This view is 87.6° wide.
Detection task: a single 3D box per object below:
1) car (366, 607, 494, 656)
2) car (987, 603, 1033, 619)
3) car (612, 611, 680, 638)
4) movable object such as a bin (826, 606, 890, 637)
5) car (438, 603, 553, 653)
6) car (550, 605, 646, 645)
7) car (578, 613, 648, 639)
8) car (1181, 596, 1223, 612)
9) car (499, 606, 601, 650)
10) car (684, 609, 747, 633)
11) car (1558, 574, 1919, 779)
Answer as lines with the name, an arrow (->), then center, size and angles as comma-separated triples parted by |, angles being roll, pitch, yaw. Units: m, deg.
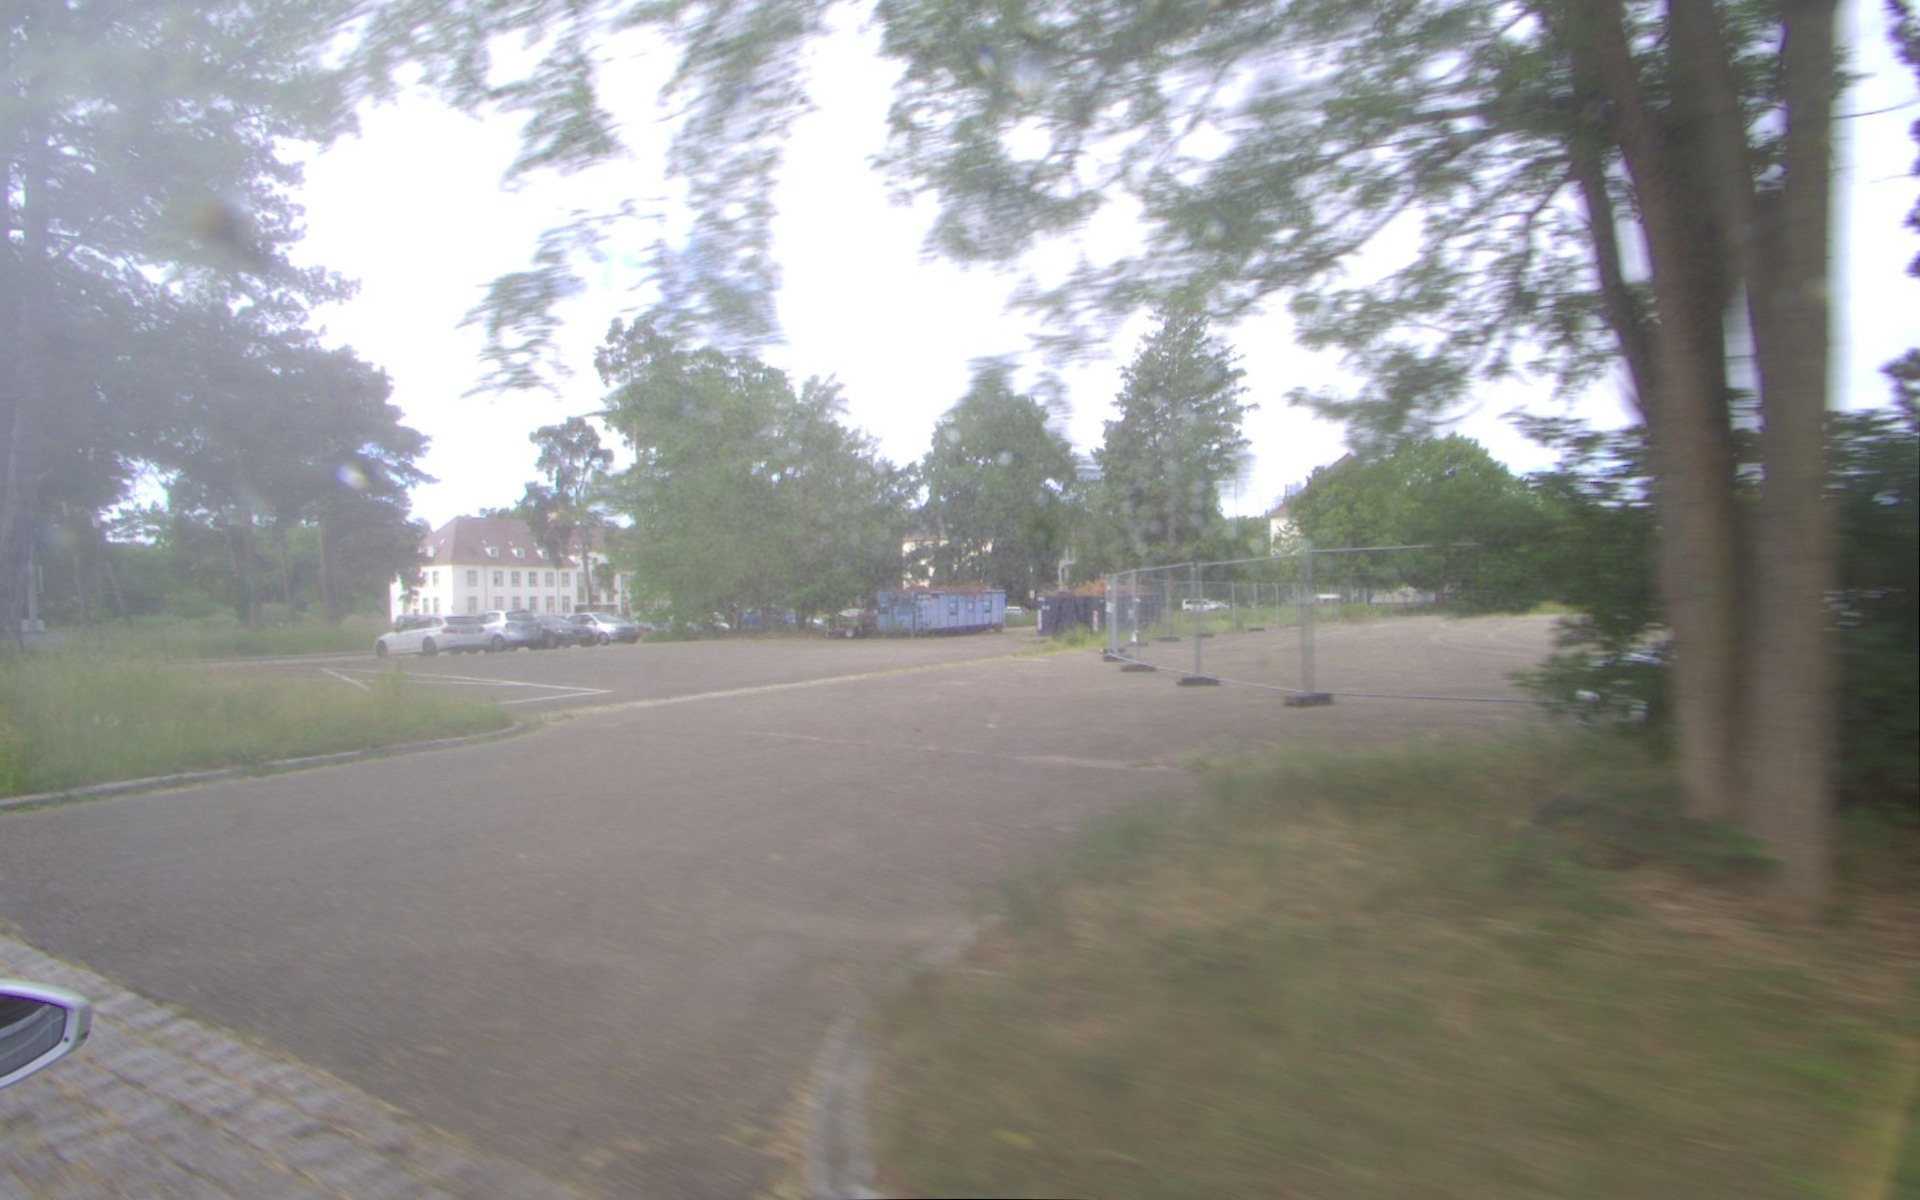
car -> -18.981, 1.136, 35.849 | 4.541, 1.505, 1.847 | -4, -3, 29
car -> 4.805, 1.082, 96.841 | 4.182, 1.541, 1.730 | -1, 0, 32
car -> -18.476, 1.431, 58.822 | 4.189, 1.492, 1.728 | -1, 0, 37
movable object such as a bin -> -3.804, 0.807, 37.281 | 2.176, 1.149, 0.960 | -1, -1, 23
car -> -17.724, 1.067, 38.176 | 4.181, 1.626, 1.780 | -4, -1, 29
car -> -15.633, 1.085, 43.191 | 4.186, 1.504, 1.697 | -4, -1, 33
car -> -19.572, 1.430, 56.419 | 4.189, 1.409, 1.728 | -1, 0, 37
car -> 33.045, 0.578, 136.890 | 5.222, 1.980, 2.080 | -1, -2, 32
car -> -16.626, 1.149, 40.587 | 4.186, 1.504, 1.697 | -4, -1, 33
car -> -15.559, 1.332, 63.687 | 4.189, 1.521, 1.610 | -1, 0, 37
car -> 7.320, 0.547, 7.868 | 4.421, 1.470, 1.672 | -1, 0, 29
